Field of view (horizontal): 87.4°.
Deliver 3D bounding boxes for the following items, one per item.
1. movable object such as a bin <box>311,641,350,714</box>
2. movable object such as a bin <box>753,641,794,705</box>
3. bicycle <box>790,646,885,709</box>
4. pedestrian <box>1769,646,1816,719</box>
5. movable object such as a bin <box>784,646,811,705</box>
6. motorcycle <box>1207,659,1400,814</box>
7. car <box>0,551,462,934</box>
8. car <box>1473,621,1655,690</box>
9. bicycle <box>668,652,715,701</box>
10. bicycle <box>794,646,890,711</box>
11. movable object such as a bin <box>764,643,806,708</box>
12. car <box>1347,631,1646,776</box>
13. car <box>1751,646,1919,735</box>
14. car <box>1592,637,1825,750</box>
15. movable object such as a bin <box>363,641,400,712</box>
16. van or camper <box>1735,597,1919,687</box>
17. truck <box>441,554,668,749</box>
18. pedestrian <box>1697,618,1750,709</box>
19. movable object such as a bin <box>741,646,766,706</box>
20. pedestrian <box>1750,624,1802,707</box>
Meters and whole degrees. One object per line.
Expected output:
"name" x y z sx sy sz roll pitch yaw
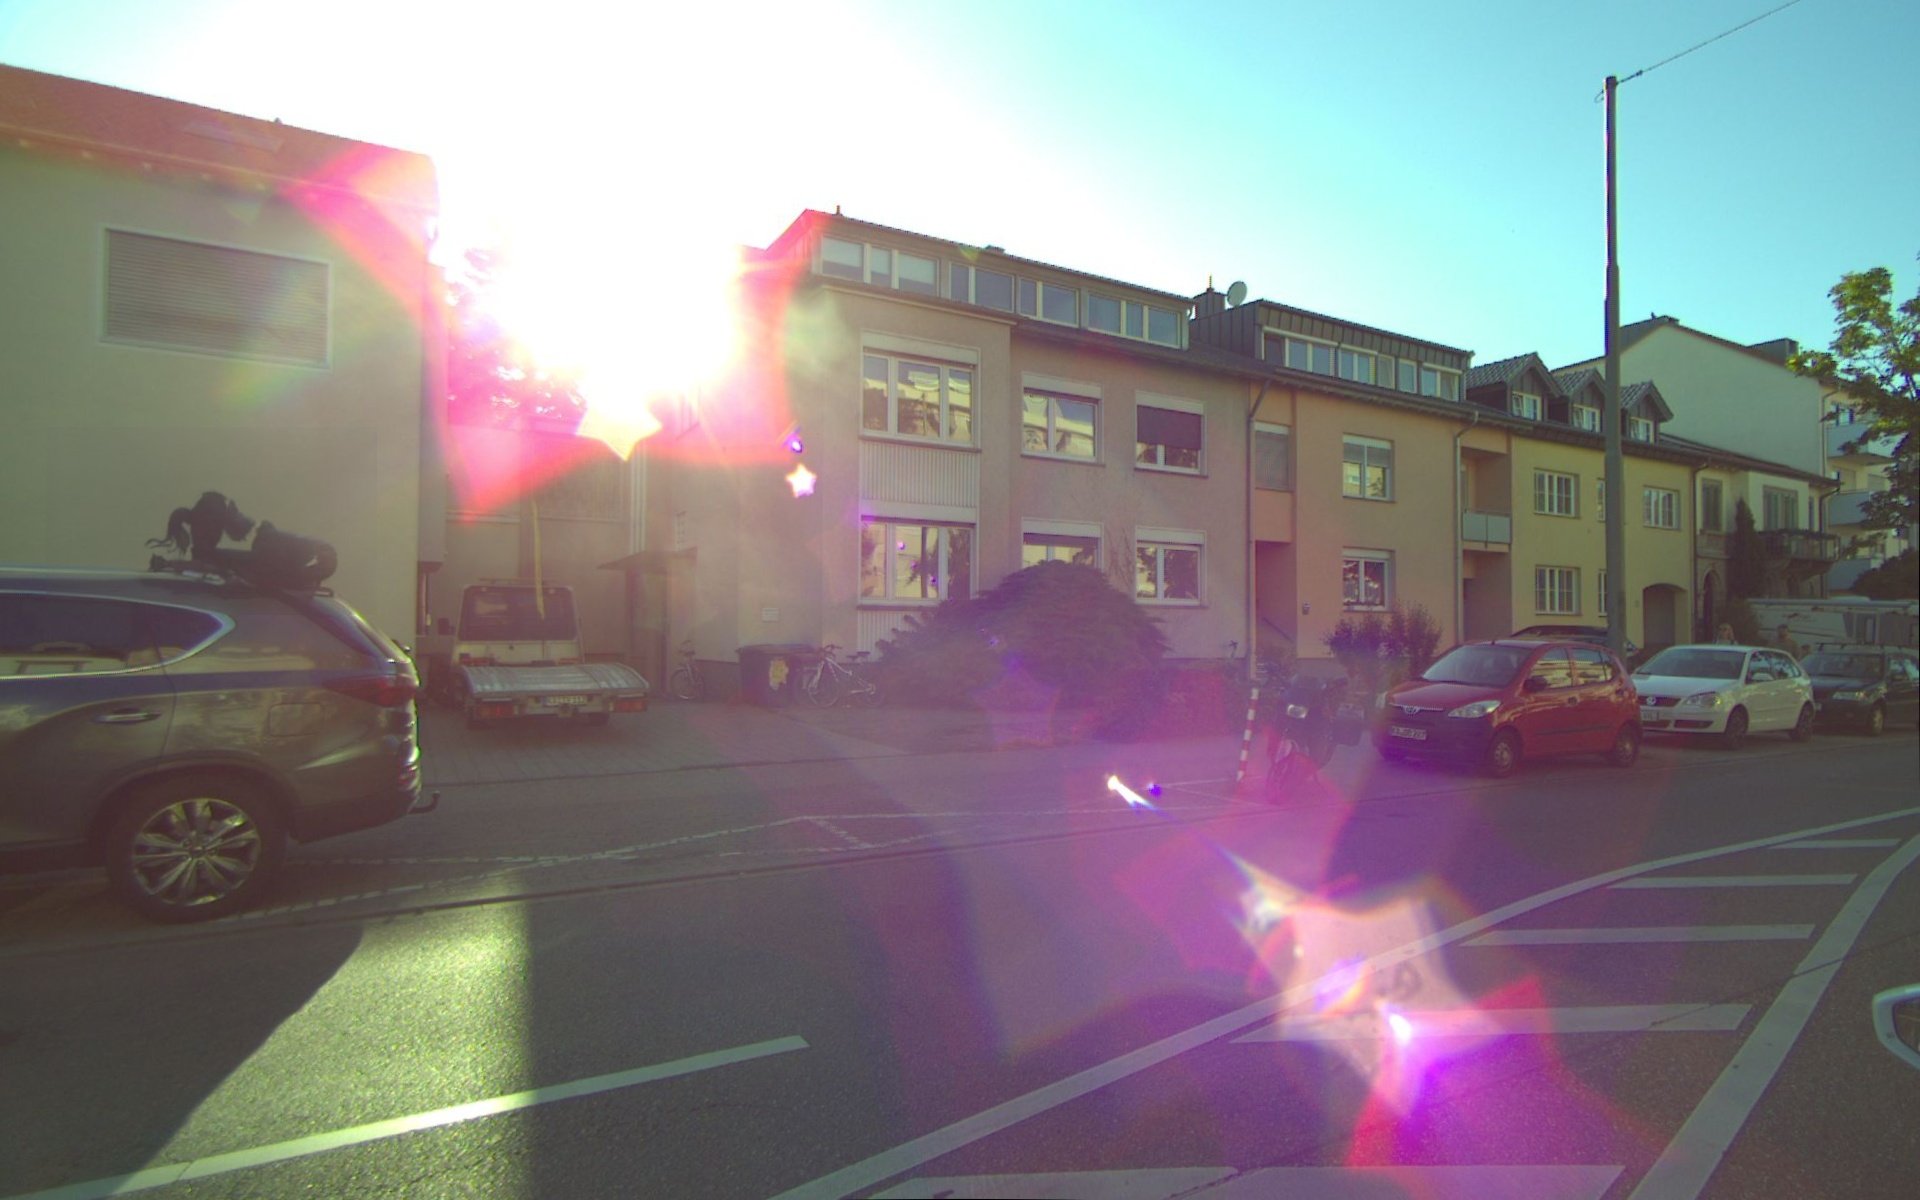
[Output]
"movable object such as a bin" -9.182 1.120 14.659 0.445 1.032 0.500 1 -2 -30
"movable object such as a bin" -3.323 1.291 17.901 0.579 1.104 0.486 1 -2 -30
"bicycle" -2.189 1.373 18.048 1.691 1.100 0.331 2 -2 -31
"pedestrian" 17.710 1.744 21.376 0.535 1.515 0.588 1 -2 -27
"movable object such as a bin" -2.942 1.359 18.135 0.345 1.051 0.433 1 -2 -30
"motorcycle" 3.459 1.254 9.947 1.164 1.282 2.362 -1 -3 36
"car" -5.340 0.683 5.337 4.673 1.802 1.877 2 -2 -32
"car" 16.744 1.497 28.058 1.843 1.657 3.970 1 0 -28
"bicycle" -5.336 1.520 19.898 0.582 0.942 1.589 1 -5 -27
"bicycle" -2.058 1.373 17.700 1.691 1.100 0.331 2 -2 -31
"movable object such as a bin" -3.022 1.291 17.333 0.579 1.104 0.486 1 -2 -30
"car" 6.521 1.164 12.196 3.392 1.543 1.587 2 -2 -28
"car" 15.760 1.541 17.797 3.623 1.415 1.536 2 -2 -30
"car" 11.620 1.365 15.553 3.847 1.543 1.585 2 -2 -31
"movable object such as a bin" -8.652 1.137 15.021 0.445 1.032 0.500 1 -2 -30
"van or camper" 30.700 1.367 33.902 2.325 2.810 6.764 2 0 -30
"truck" -6.319 0.697 14.973 2.249 2.214 6.864 2 -2 -29
"pedestrian" 15.672 1.291 20.625 0.499 1.816 0.711 1 -2 -27
"movable object such as a bin" -3.699 1.357 18.011 0.285 1.051 0.501 1 -2 -30
"pedestrian" 18.114 1.438 22.302 0.564 1.816 0.711 1 -2 -27
